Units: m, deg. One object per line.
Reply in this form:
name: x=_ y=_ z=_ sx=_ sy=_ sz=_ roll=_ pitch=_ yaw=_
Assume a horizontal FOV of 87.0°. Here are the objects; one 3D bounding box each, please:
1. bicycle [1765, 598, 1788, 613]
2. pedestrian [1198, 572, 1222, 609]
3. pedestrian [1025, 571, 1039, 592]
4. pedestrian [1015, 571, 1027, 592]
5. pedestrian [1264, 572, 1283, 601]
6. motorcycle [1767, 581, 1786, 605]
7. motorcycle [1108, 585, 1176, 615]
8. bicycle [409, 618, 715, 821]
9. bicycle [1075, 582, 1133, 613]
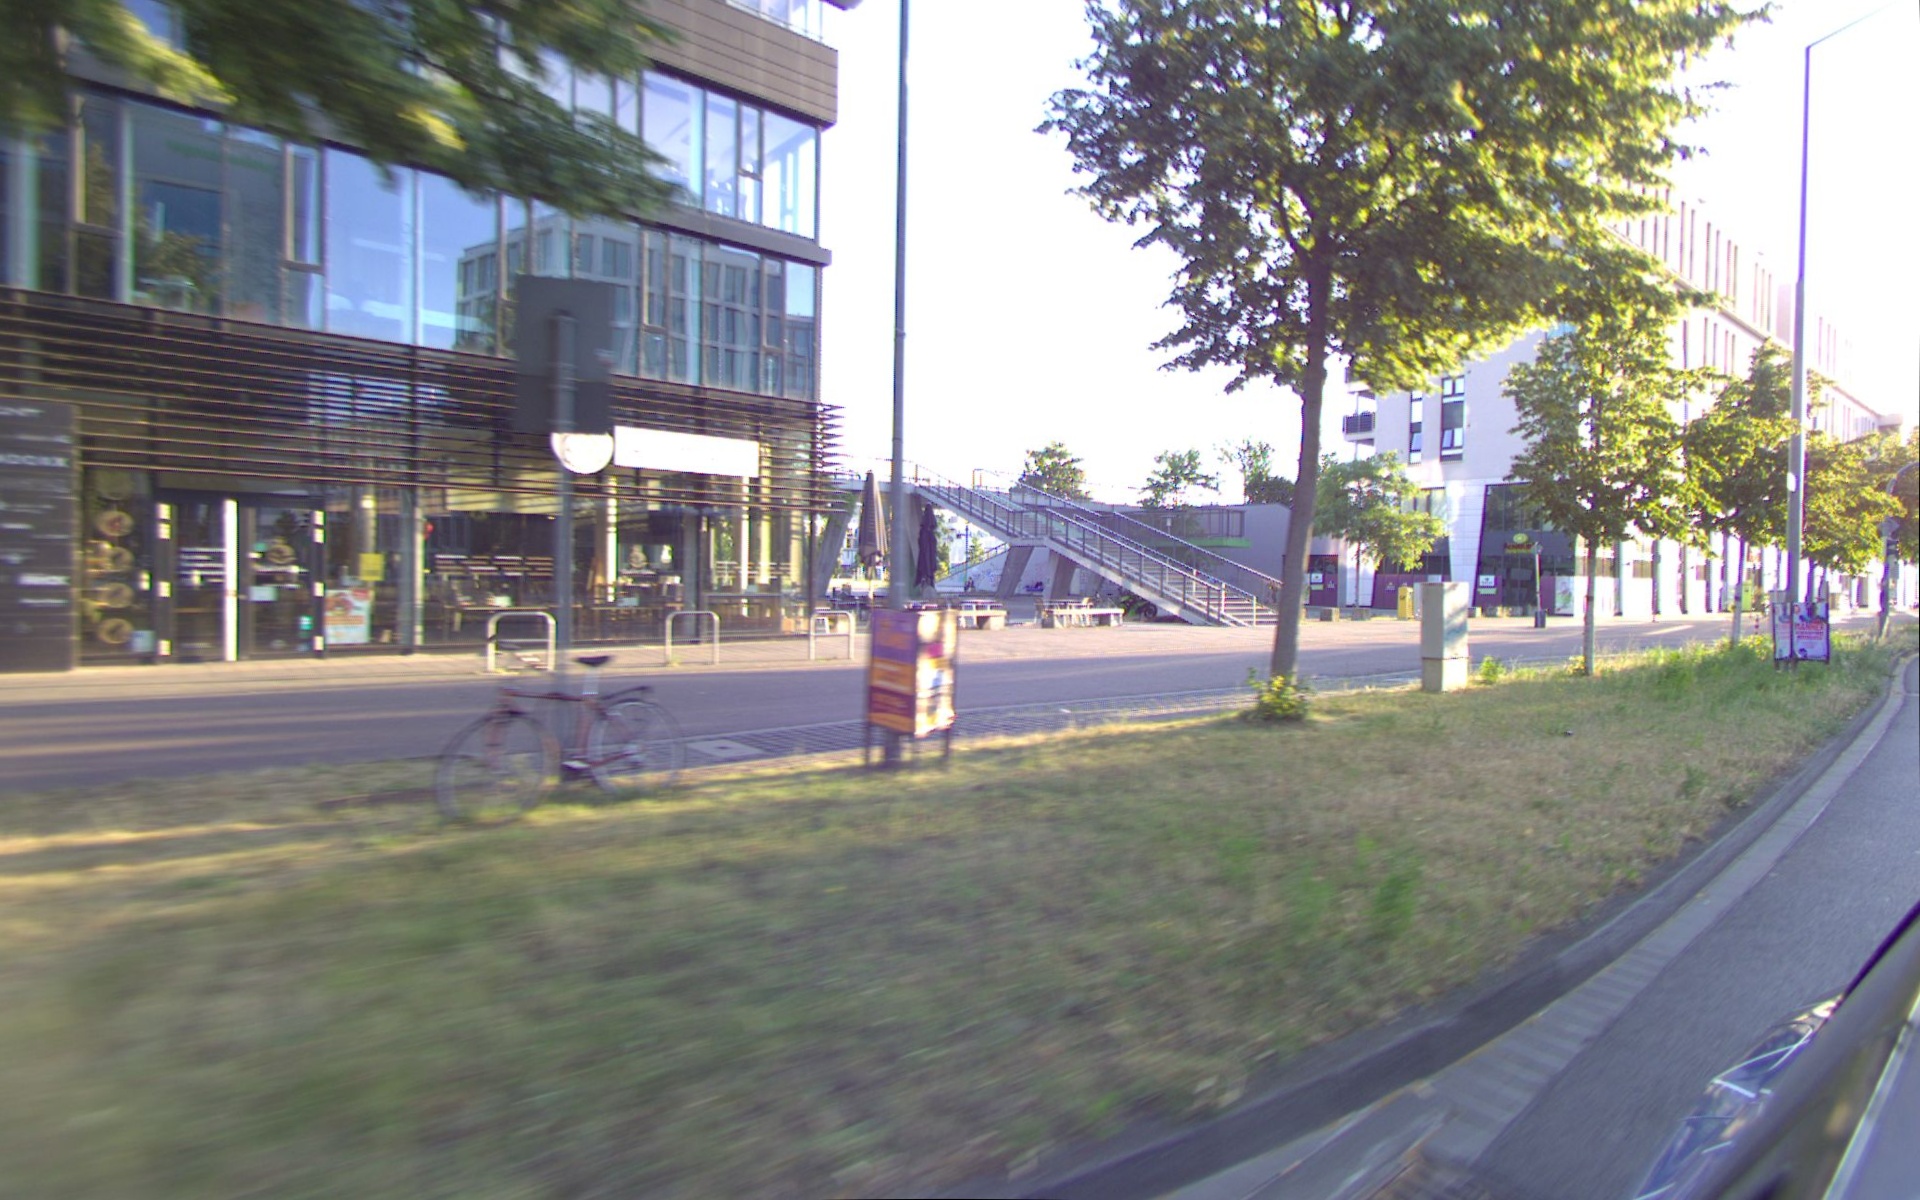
bicycle: x=49.719 y=0.320 z=61.617 sx=0.539 sy=0.872 sz=1.568 roll=1 pitch=1 yaw=17
pedestrian: x=12.855 y=-0.489 z=52.040 sx=0.896 sy=1.867 sz=0.825 roll=2 pitch=1 yaw=44
pedestrian: x=5.705 y=-1.482 z=80.397 sx=0.782 sy=1.614 sz=0.718 roll=0 pitch=1 yaw=-34
pedestrian: x=4.914 y=-1.479 z=81.116 sx=0.710 sy=1.614 sz=0.791 roll=1 pitch=1 yaw=25
pedestrian: x=18.654 y=-0.807 z=60.217 sx=0.751 sy=1.703 sz=0.767 roll=0 pitch=1 yaw=-38
motorcycle: x=58.660 y=-0.502 z=72.695 sx=2.086 sy=1.720 sz=0.690 roll=0 pitch=1 yaw=-40
motorcycle: x=6.862 y=0.003 z=38.045 sx=2.637 sy=1.056 sz=0.734 roll=0 pitch=1 yaw=-29
bicycle: x=-2.370 y=0.649 z=6.179 sx=0.578 sy=1.007 sz=1.661 roll=2 pitch=2 yaw=42
bicycle: x=5.905 y=-0.096 z=41.477 sx=2.400 sy=1.252 sz=0.734 roll=0 pitch=1 yaw=-29
